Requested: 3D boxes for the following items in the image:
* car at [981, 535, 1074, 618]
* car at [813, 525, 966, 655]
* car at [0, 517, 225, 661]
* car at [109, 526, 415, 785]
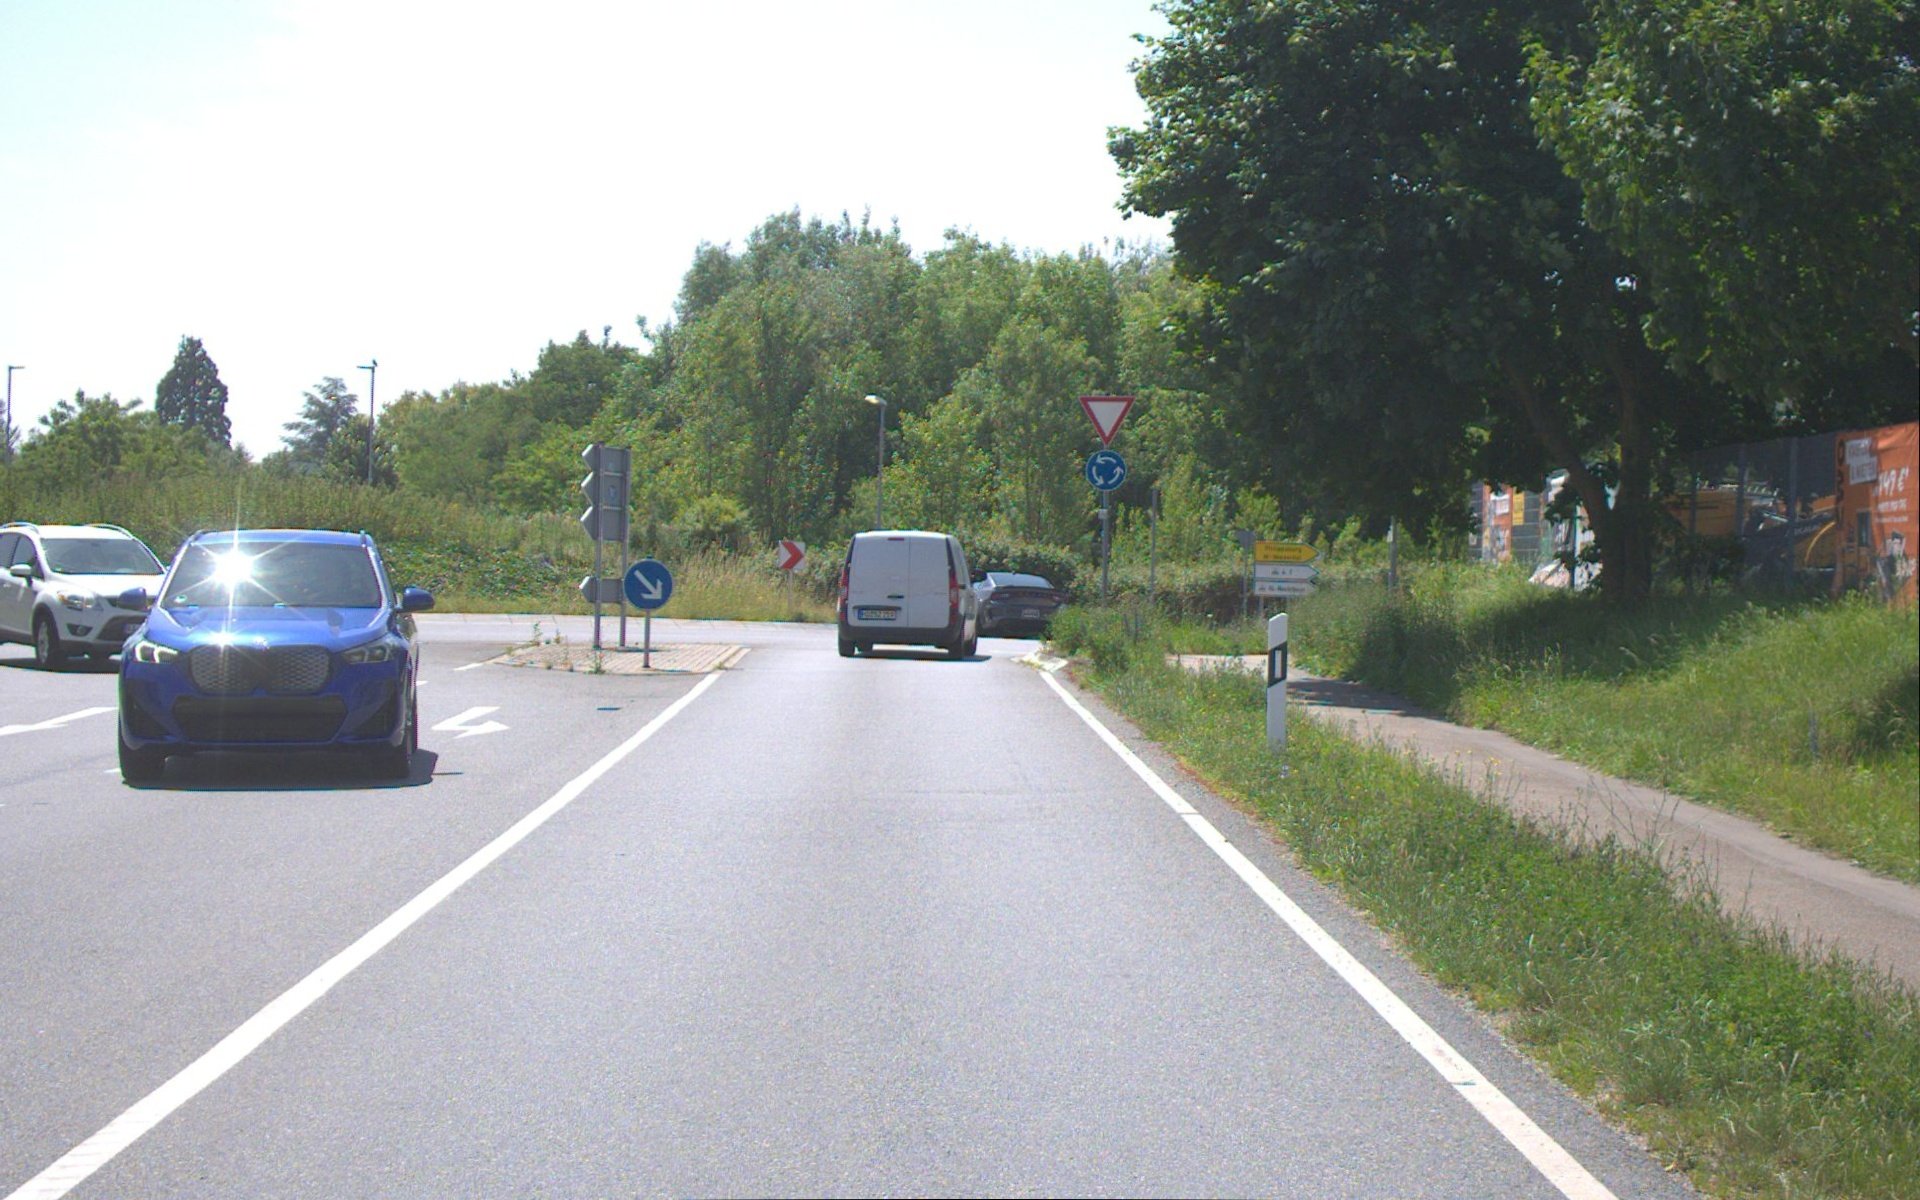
[{"bbox_3d":[1.407,-0.525,72.901,1.805,1.550,4.001,1,3,-1],"label":"car"},{"bbox_3d":[-1.047,-0.172,48.950,1.903,1.726,3.823,2,1,-5],"label":"car"},{"bbox_3d":[-10.596,-0.163,41.583,1.901,1.653,4.000,0,1,-35],"label":"car"},{"bbox_3d":[-4.749,0.298,23.321,1.846,1.562,4.001,-1,2,-12],"label":"car"}]
